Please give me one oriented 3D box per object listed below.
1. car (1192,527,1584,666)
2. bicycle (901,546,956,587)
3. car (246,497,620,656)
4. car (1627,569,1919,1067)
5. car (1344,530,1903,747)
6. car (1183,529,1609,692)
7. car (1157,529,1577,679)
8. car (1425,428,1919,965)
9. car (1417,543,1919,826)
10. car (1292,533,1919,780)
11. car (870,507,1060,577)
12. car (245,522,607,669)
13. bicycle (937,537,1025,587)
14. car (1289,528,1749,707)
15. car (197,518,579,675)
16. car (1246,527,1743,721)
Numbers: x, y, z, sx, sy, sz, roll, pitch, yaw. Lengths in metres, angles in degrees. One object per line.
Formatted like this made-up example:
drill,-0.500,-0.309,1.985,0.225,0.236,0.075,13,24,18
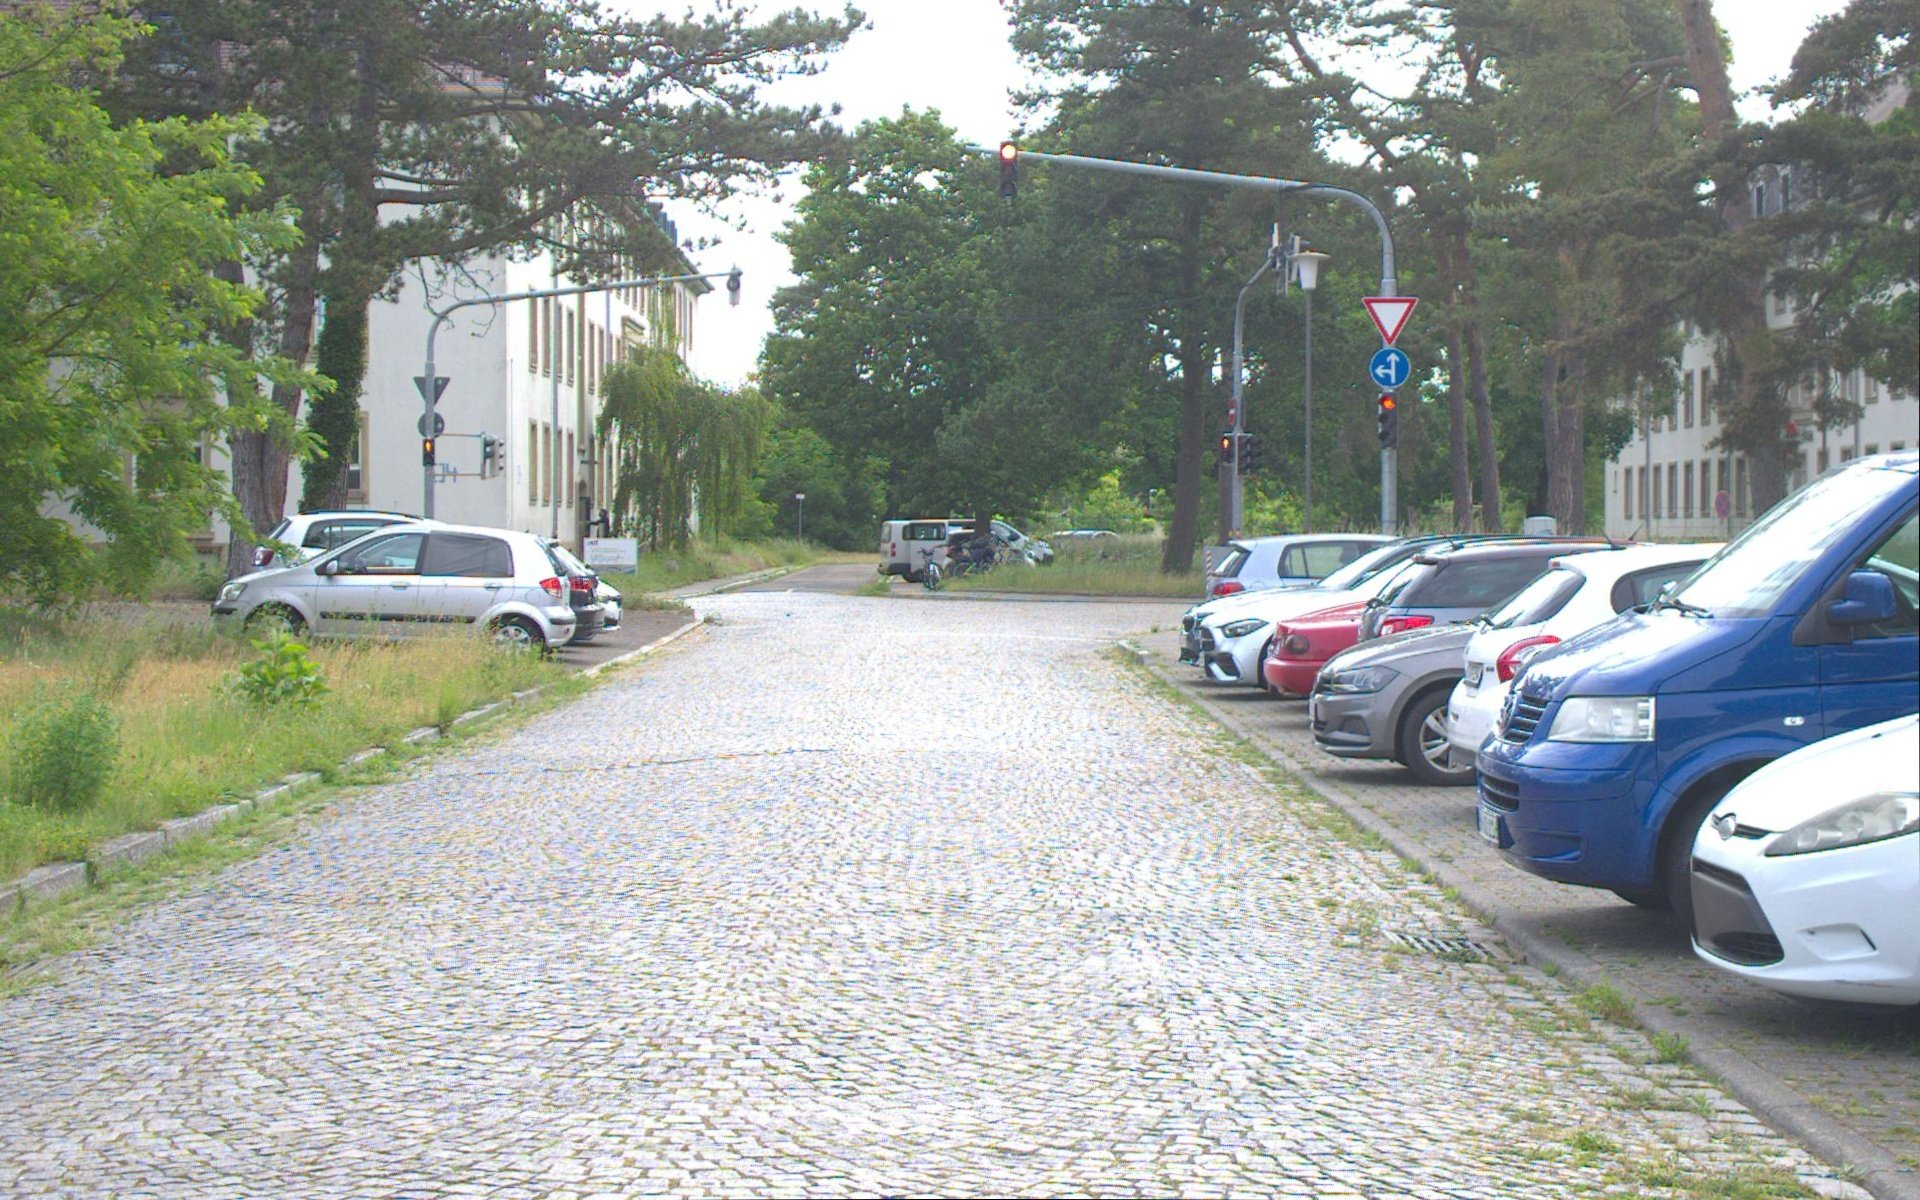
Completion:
car,4.626,-0.051,37.434,3.967,1.416,1.620,-1,1,-4
bicycle,-0.756,-0.805,82.293,0.620,0.941,1.663,1,1,-28
car,-6.355,-0.294,41.769,4.262,1.834,1.744,-1,1,-1
car,4.165,0.617,11.052,3.671,1.444,1.615,-1,1,-3
car,4.710,0.254,24.687,3.671,1.444,1.524,-1,1,-2
car,4.015,0.076,31.929,3.671,1.416,1.524,-1,1,-4
car,4.077,0.021,34.784,3.967,1.416,1.620,-1,1,-4
car,4.389,0.311,13.639,4.754,1.948,1.931,-1,1,-2
car,4.481,0.424,18.921,3.671,1.444,1.524,-1,1,-2
car,4.034,0.329,21.699,3.671,1.444,1.524,-1,1,-2
car,0.140,-1.762,104.260,5.444,2.007,2.269,1,1,-9
car,-5.981,-0.067,38.785,3.821,1.567,1.564,-1,1,-1
bicycle,0.517,-0.963,86.360,2.136,1.210,0.622,1,1,-4
car,4.777,0.131,29.676,3.671,1.444,1.524,-1,1,-2
car,-6.003,-0.054,36.368,3.821,1.567,1.565,-1,1,-3
car,4.207,0.171,27.392,3.671,1.444,1.524,-1,1,-2
